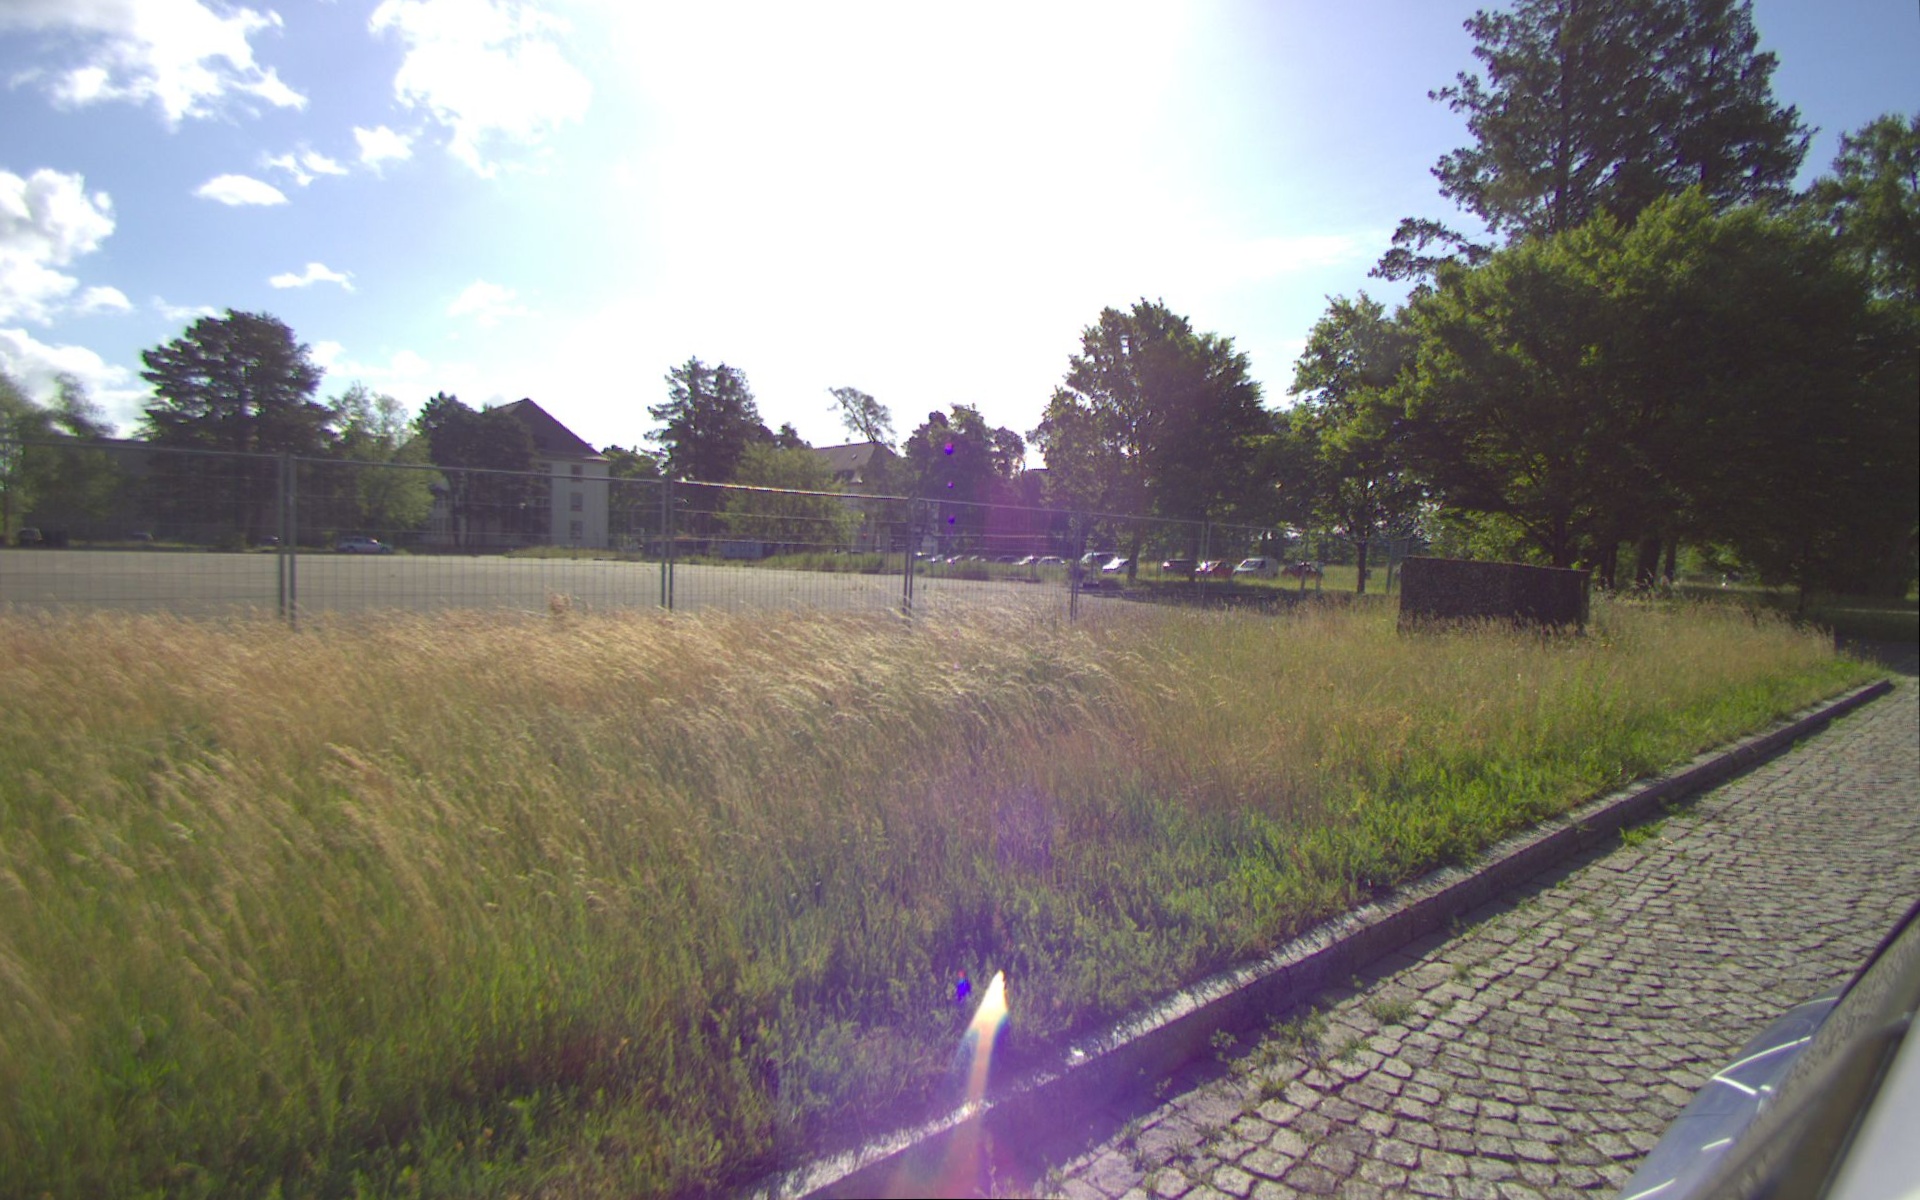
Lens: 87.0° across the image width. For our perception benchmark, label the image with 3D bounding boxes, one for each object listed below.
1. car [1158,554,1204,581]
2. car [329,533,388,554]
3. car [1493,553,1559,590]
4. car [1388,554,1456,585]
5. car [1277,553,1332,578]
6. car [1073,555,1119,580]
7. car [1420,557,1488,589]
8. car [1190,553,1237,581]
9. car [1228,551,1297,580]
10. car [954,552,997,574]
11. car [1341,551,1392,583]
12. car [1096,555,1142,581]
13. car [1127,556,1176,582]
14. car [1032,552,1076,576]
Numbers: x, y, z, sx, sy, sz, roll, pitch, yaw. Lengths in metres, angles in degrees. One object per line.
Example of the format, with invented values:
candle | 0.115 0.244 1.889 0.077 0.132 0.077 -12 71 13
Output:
car | 17.220 -2.519 78.738 3.558 2.038 1.740 -1 3 -42
car | -50.458 -4.749 84.907 1.995 1.601 3.936 4 4 45
car | 33.413 -1.674 59.688 4.279 2.038 2.242 -1 4 -45
car | 29.895 -1.964 65.432 4.269 1.861 2.247 -1 3 -37
car | 24.235 -2.397 71.125 3.932 1.671 1.997 -1 4 -42
car | 11.454 -2.707 85.197 3.783 2.038 1.741 -1 3 -40
car | 30.824 -1.694 63.109 4.273 1.861 2.245 -1 3 -41
car | 19.284 -2.468 76.822 3.558 2.038 1.740 -1 3 -42
car | 22.293 -2.580 74.451 5.931 2.038 1.997 -3 3 -41
car | 1.506 -3.578 98.197 3.932 2.038 1.997 -1 3 -42
car | 27.562 -2.239 68.584 3.558 2.038 1.740 -1 3 -42
car | 13.147 -2.656 83.415 3.786 2.038 1.740 -1 3 -42
car | 15.662 -2.558 82.605 3.933 2.038 1.996 -1 3 -43
car | 8.330 -3.145 89.510 3.783 2.038 1.741 -1 3 -40
